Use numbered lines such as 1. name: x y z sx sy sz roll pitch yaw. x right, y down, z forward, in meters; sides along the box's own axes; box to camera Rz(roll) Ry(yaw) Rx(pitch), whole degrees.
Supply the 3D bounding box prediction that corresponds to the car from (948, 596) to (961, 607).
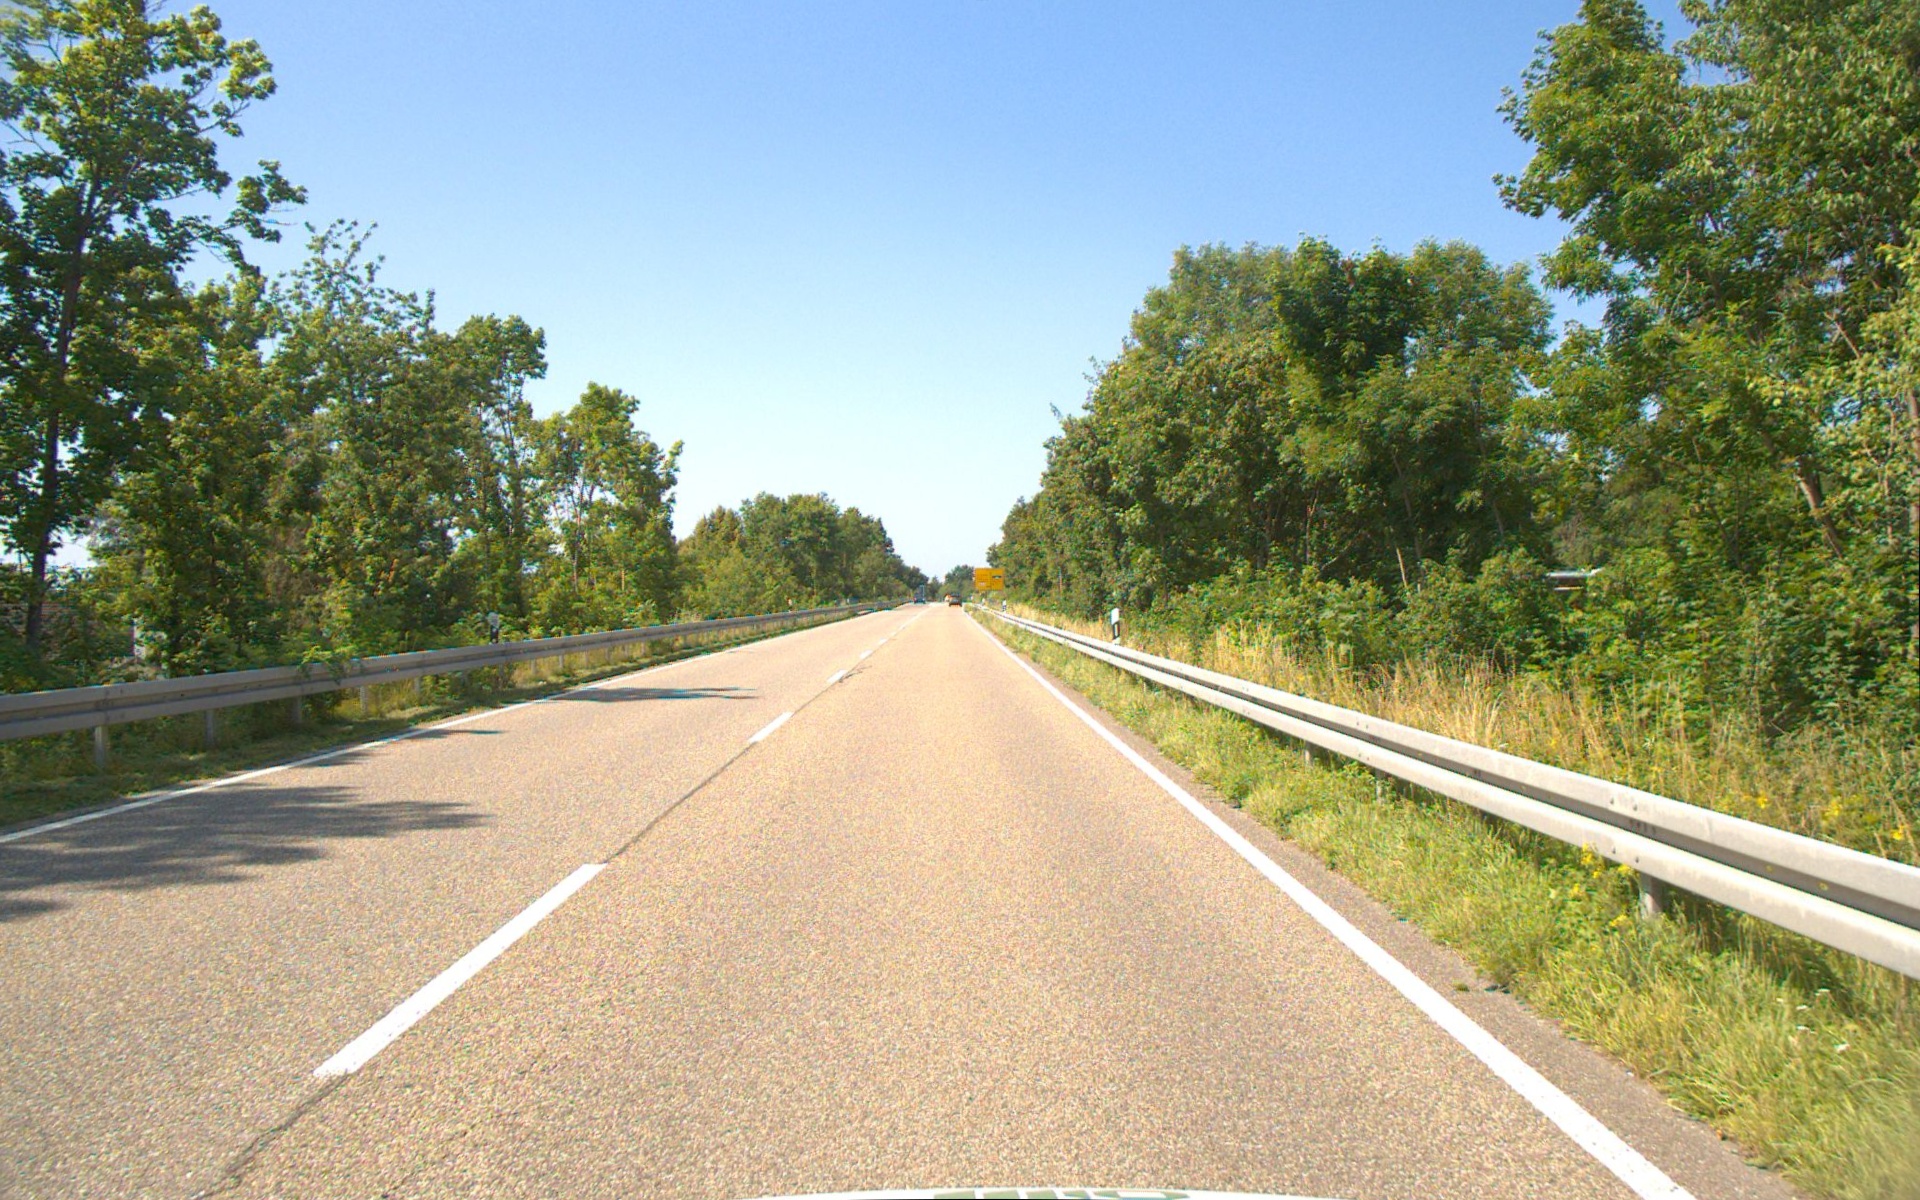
1. car: -0.737 0.180 219.423 1.705 1.496 3.693 0 0 0
